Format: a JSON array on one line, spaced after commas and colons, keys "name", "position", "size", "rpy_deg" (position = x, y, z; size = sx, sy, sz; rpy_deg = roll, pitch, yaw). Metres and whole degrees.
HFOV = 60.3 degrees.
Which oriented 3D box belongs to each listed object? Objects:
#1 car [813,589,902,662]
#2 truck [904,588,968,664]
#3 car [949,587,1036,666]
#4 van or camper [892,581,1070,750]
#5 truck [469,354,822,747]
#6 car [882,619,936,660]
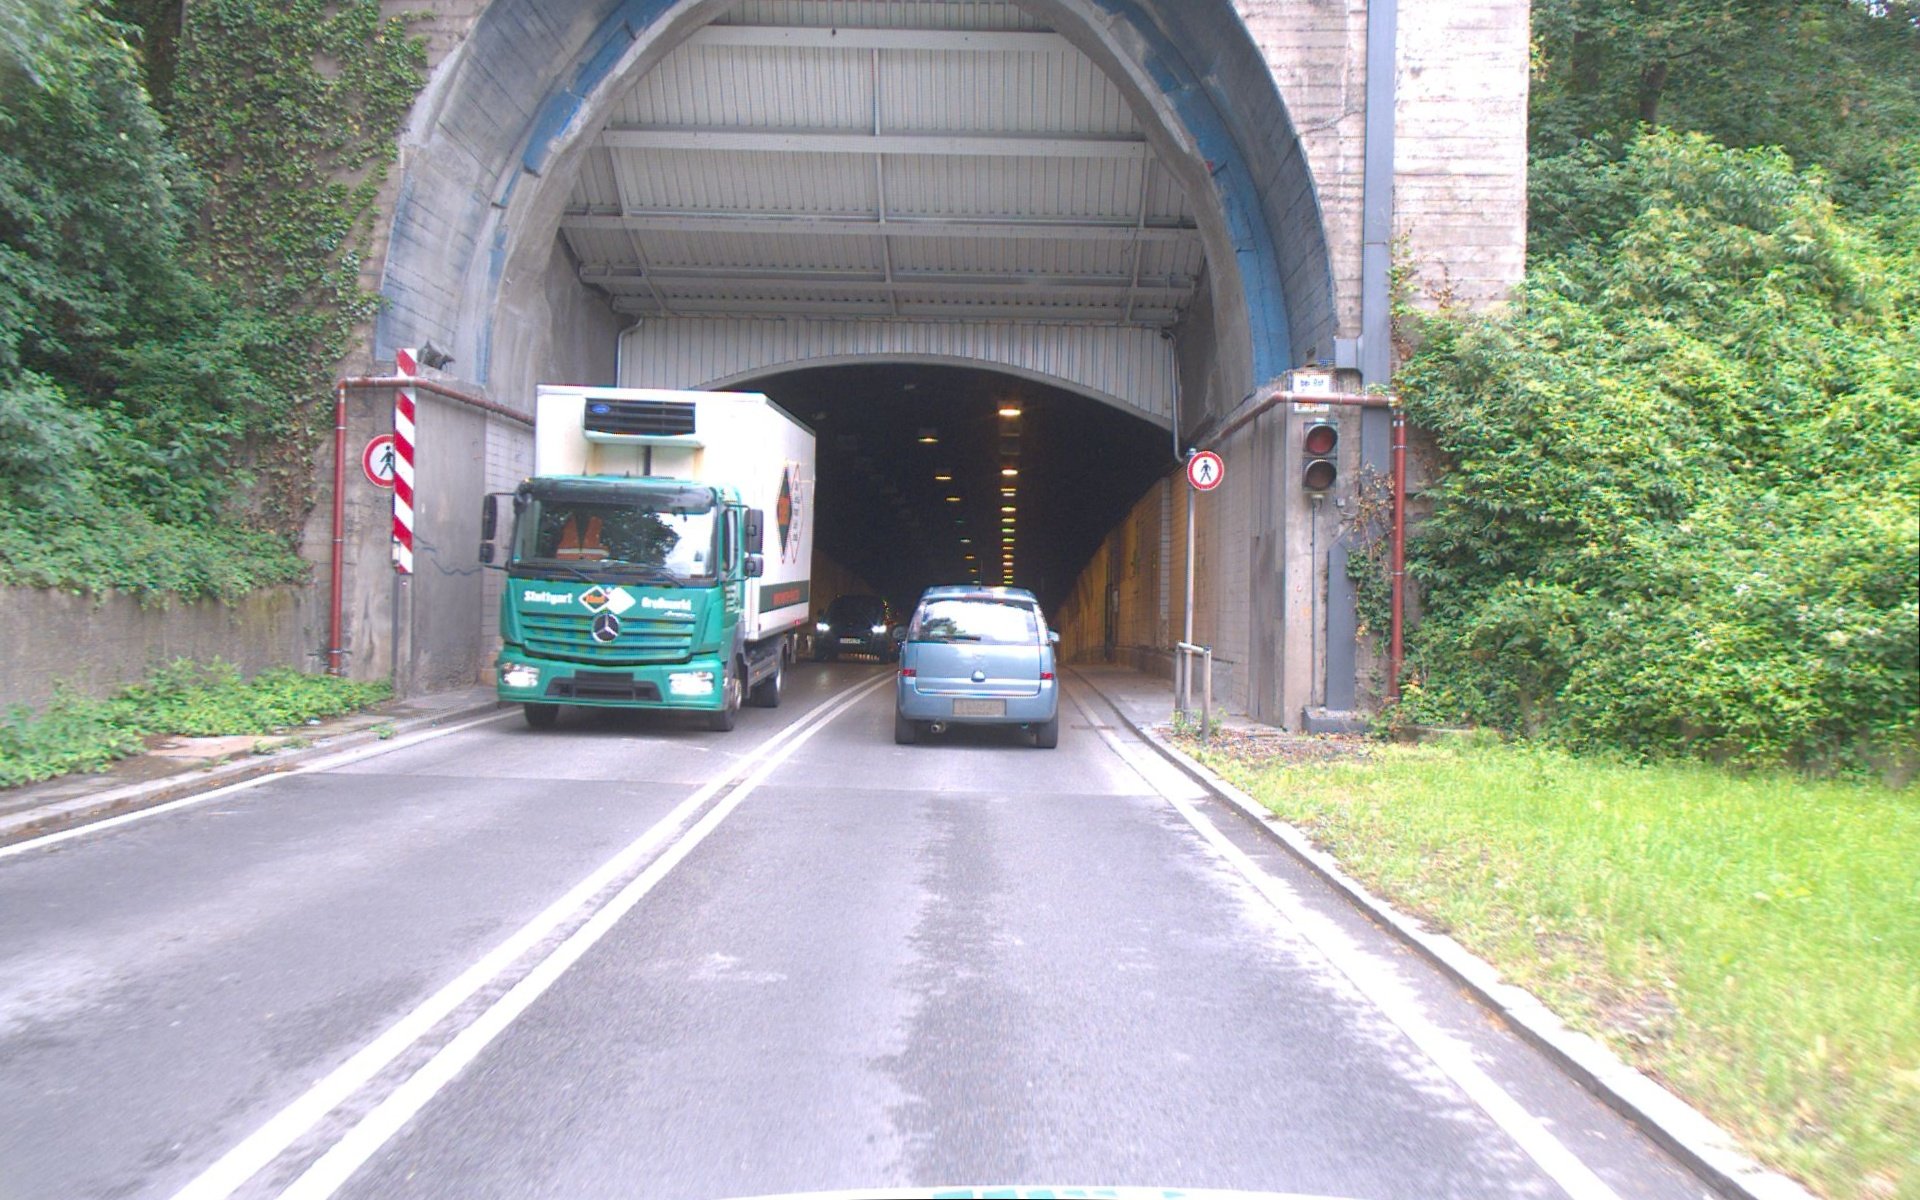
[{"name": "car", "position": [-2.523, 0.634, 41.812], "size": [1.840, 1.705, 4.377], "rpy_deg": [1, 0, 1]}, {"name": "truck", "position": [-1.243, 1.488, 89.650], "size": [2.754, 3.781, 7.548], "rpy_deg": [1, -3, 4]}, {"name": "car", "position": [0.829, 0.579, 39.373], "size": [1.952, 1.682, 4.002], "rpy_deg": [0, 2, 3]}, {"name": "van or camper", "position": [0.216, 0.629, 17.816], "size": [1.699, 1.605, 3.646], "rpy_deg": [1, 0, 0]}, {"name": "truck", "position": [-3.349, -0.481, 19.729], "size": [2.620, 3.731, 7.518], "rpy_deg": [1, 0, 0]}, {"name": "car", "position": [-1.984, 1.568, 65.474], "size": [1.854, 1.495, 4.161], "rpy_deg": [2, -2, 2]}]
